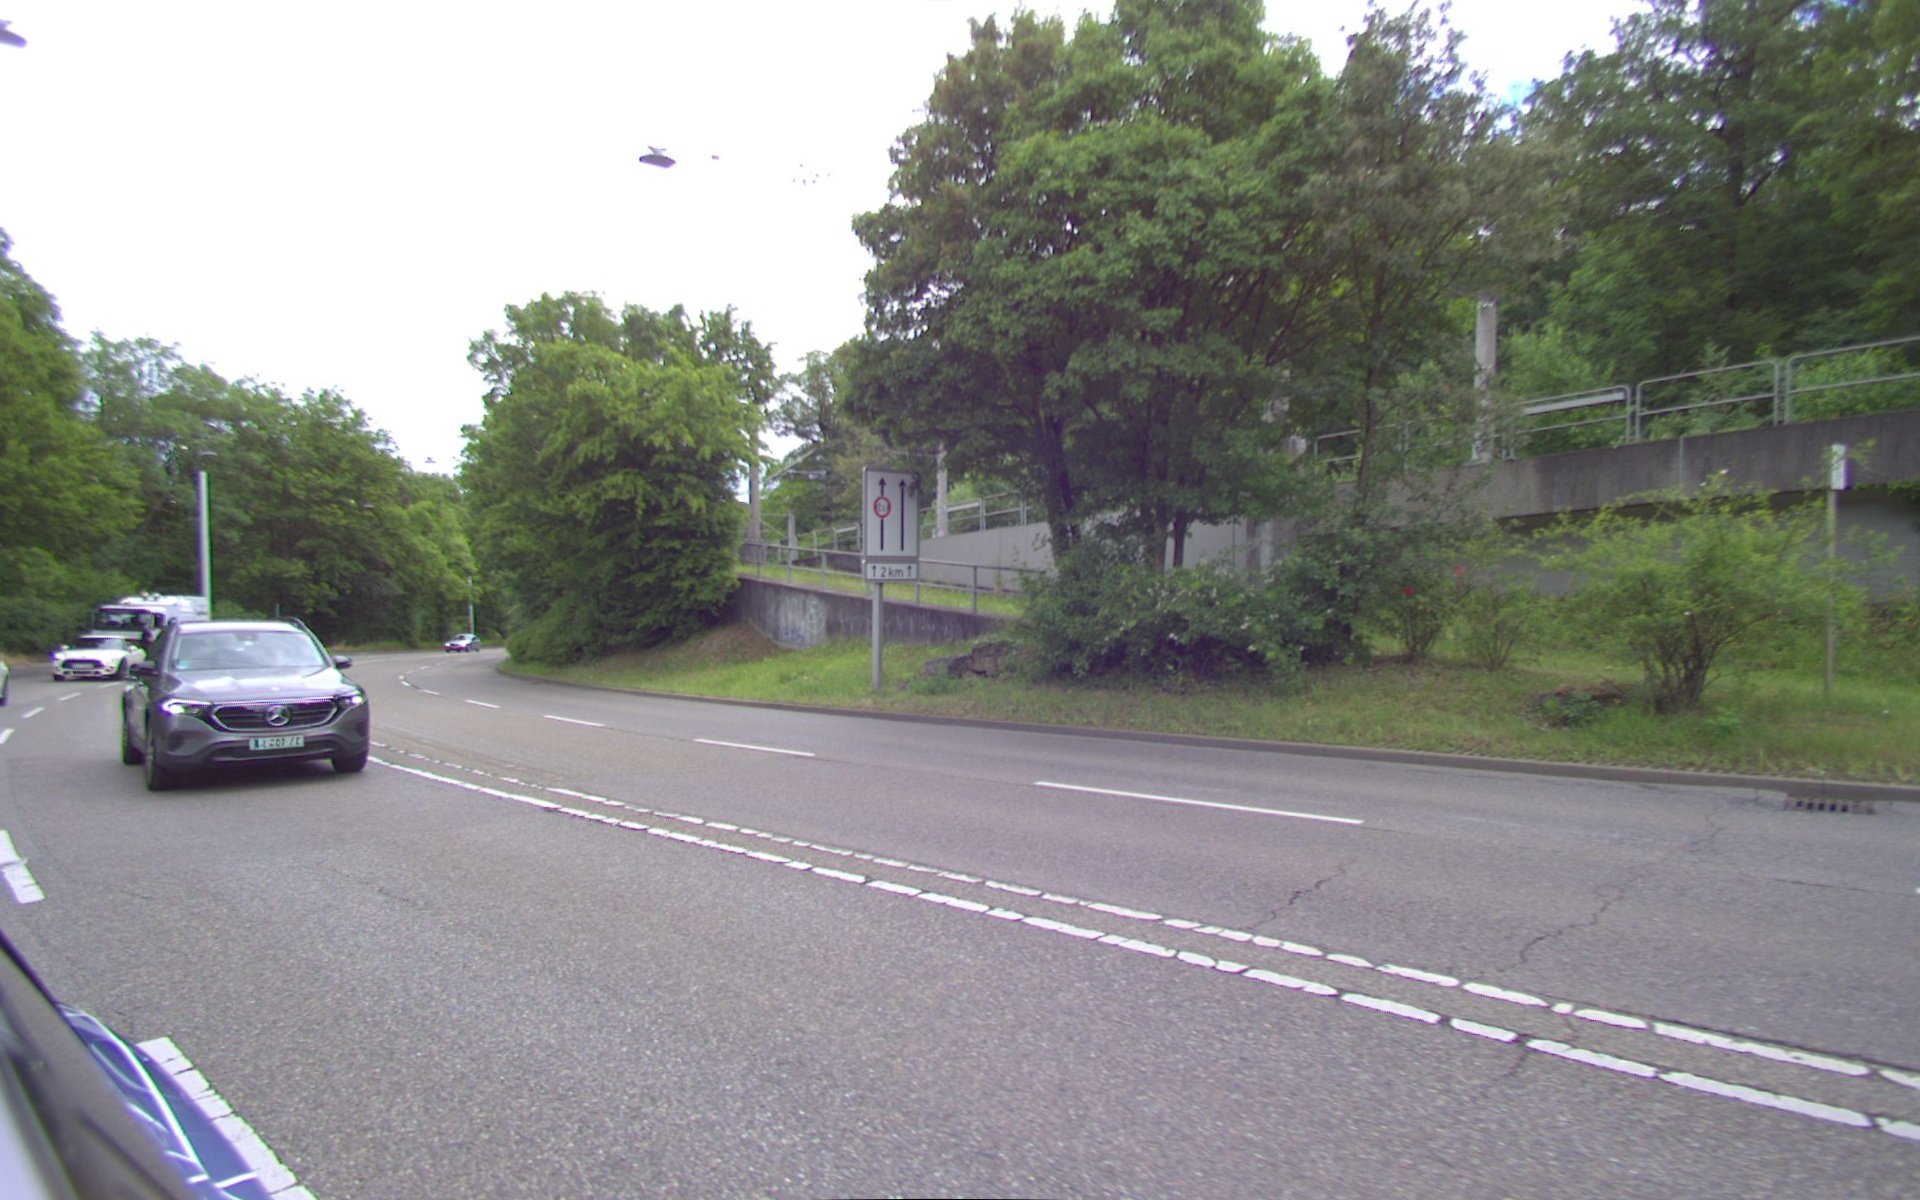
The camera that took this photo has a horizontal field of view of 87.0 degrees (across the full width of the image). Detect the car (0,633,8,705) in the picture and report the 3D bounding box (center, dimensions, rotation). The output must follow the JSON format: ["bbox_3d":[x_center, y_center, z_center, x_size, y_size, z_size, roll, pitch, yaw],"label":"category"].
[{"bbox_3d":[-19.830,1.379,19.463,1.774,1.490,4.019,1,-2,-37],"label":"car"}]

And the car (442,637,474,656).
[{"bbox_3d":[-38.433,3.549,77.563,1.726,1.372,4.023,0,-2,-20],"label":"car"}]

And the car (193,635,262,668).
[{"bbox_3d":[-33.404,2.324,46.246,1.726,1.436,4.023,2,-3,-24],"label":"car"}]

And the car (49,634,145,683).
[{"bbox_3d":[-27.190,1.821,31.999,1.661,1.435,3.744,3,-3,-31],"label":"car"}]

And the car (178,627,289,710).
[{"bbox_3d":[-16.441,1.472,22.824,1.826,1.664,4.366,0,-2,-38],"label":"car"}]

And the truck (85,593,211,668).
[{"bbox_3d":[-37.004,1.396,46.398,2.164,3.180,6.670,0,-2,-17],"label":"truck"}]

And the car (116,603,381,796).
[{"bbox_3d":[-7.871,0.940,11.012,1.827,1.664,4.362,1,-2,-42],"label":"car"}]
